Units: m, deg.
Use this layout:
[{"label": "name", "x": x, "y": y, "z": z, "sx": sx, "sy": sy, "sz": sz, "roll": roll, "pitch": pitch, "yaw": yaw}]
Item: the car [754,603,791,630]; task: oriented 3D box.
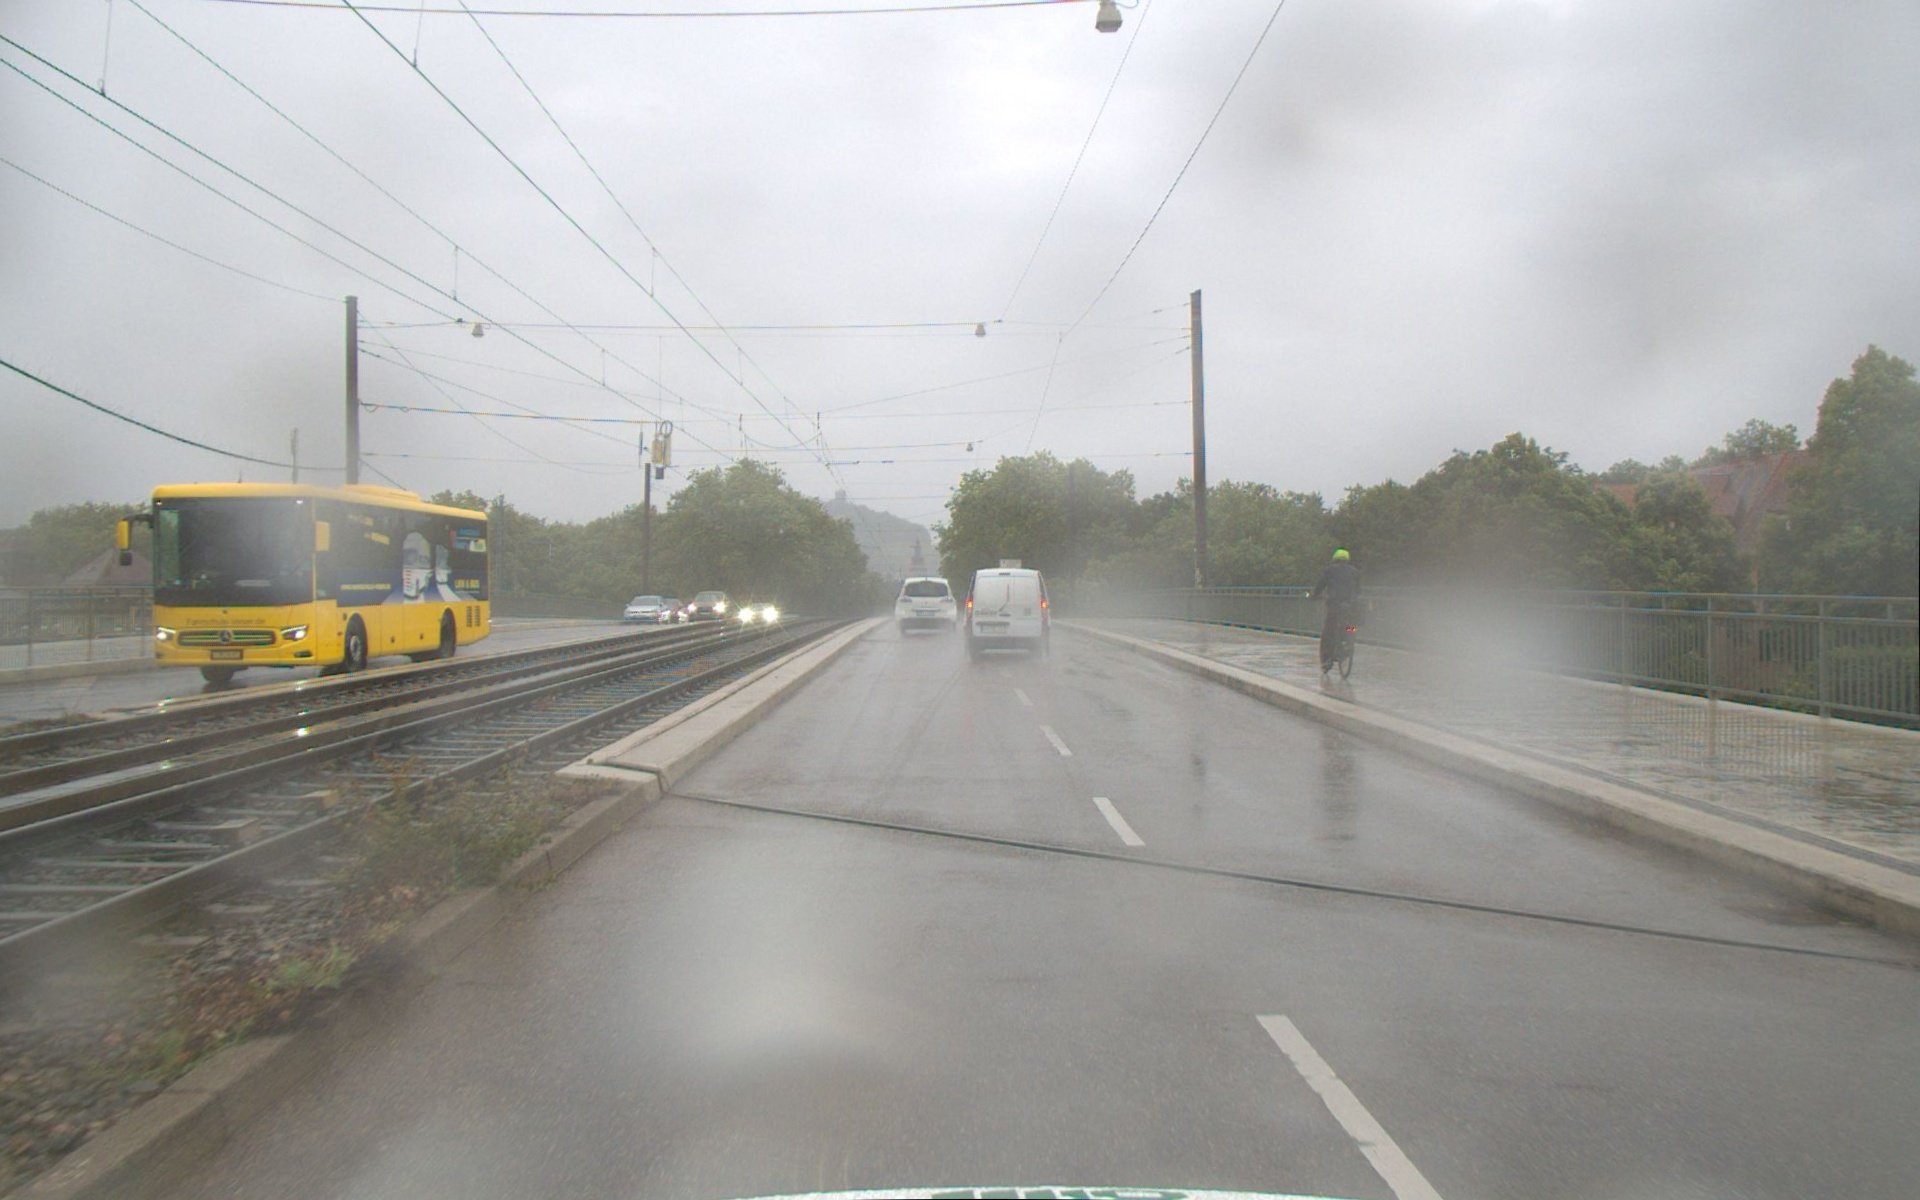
[{"label": "car", "x": -11.528, "y": 1.050, "z": 101.892, "sx": 1.954, "sy": 1.535, "sz": 5.109, "roll": -2, "pitch": -1, "yaw": -3}]

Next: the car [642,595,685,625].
[{"label": "car", "x": -15.763, "y": 0.574, "z": 88.021, "sx": 1.587, "sy": 1.481, "sz": 4.320, "roll": -2, "pitch": -1, "yaw": -2}]

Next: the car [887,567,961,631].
[{"label": "car", "x": -1.026, "y": 0.005, "z": 48.744, "sx": 1.952, "sy": 1.747, "sz": 4.000, "roll": 1, "pitch": -1, "yaw": 1}]

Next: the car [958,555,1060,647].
[{"label": "car", "x": 0.999, "y": 0.065, "z": 34.371, "sx": 1.952, "sy": 1.757, "sz": 4.000, "roll": 1, "pitch": -1, "yaw": 1}]

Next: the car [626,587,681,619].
[{"label": "car", "x": -15.272, "y": 0.183, "z": 82.691, "sx": 1.953, "sy": 1.481, "sz": 4.618, "roll": -2, "pitch": -1, "yaw": -2}]

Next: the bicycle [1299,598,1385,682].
[{"label": "bicycle", "x": 5.550, "y": 0.563, "z": 24.167, "sx": 0.708, "sy": 1.149, "sz": 2.167, "roll": 1, "pitch": 0, "yaw": -1}]

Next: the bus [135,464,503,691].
[{"label": "bus", "x": -11.318, "y": -0.471, "z": 30.803, "sx": 2.653, "sy": 3.399, "sz": 10.992, "roll": -2, "pitch": 1, "yaw": -1}]

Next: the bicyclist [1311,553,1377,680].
[{"label": "bicyclist", "x": 5.585, "y": 0.242, "z": 24.099, "sx": 0.711, "sy": 1.795, "sz": 0.949, "roll": 1, "pitch": -1, "yaw": -1}]

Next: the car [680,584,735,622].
[{"label": "car", "x": -12.374, "y": 0.168, "z": 81.265, "sx": 1.953, "sy": 1.747, "sz": 4.940, "roll": -2, "pitch": -1, "yaw": -1}]
